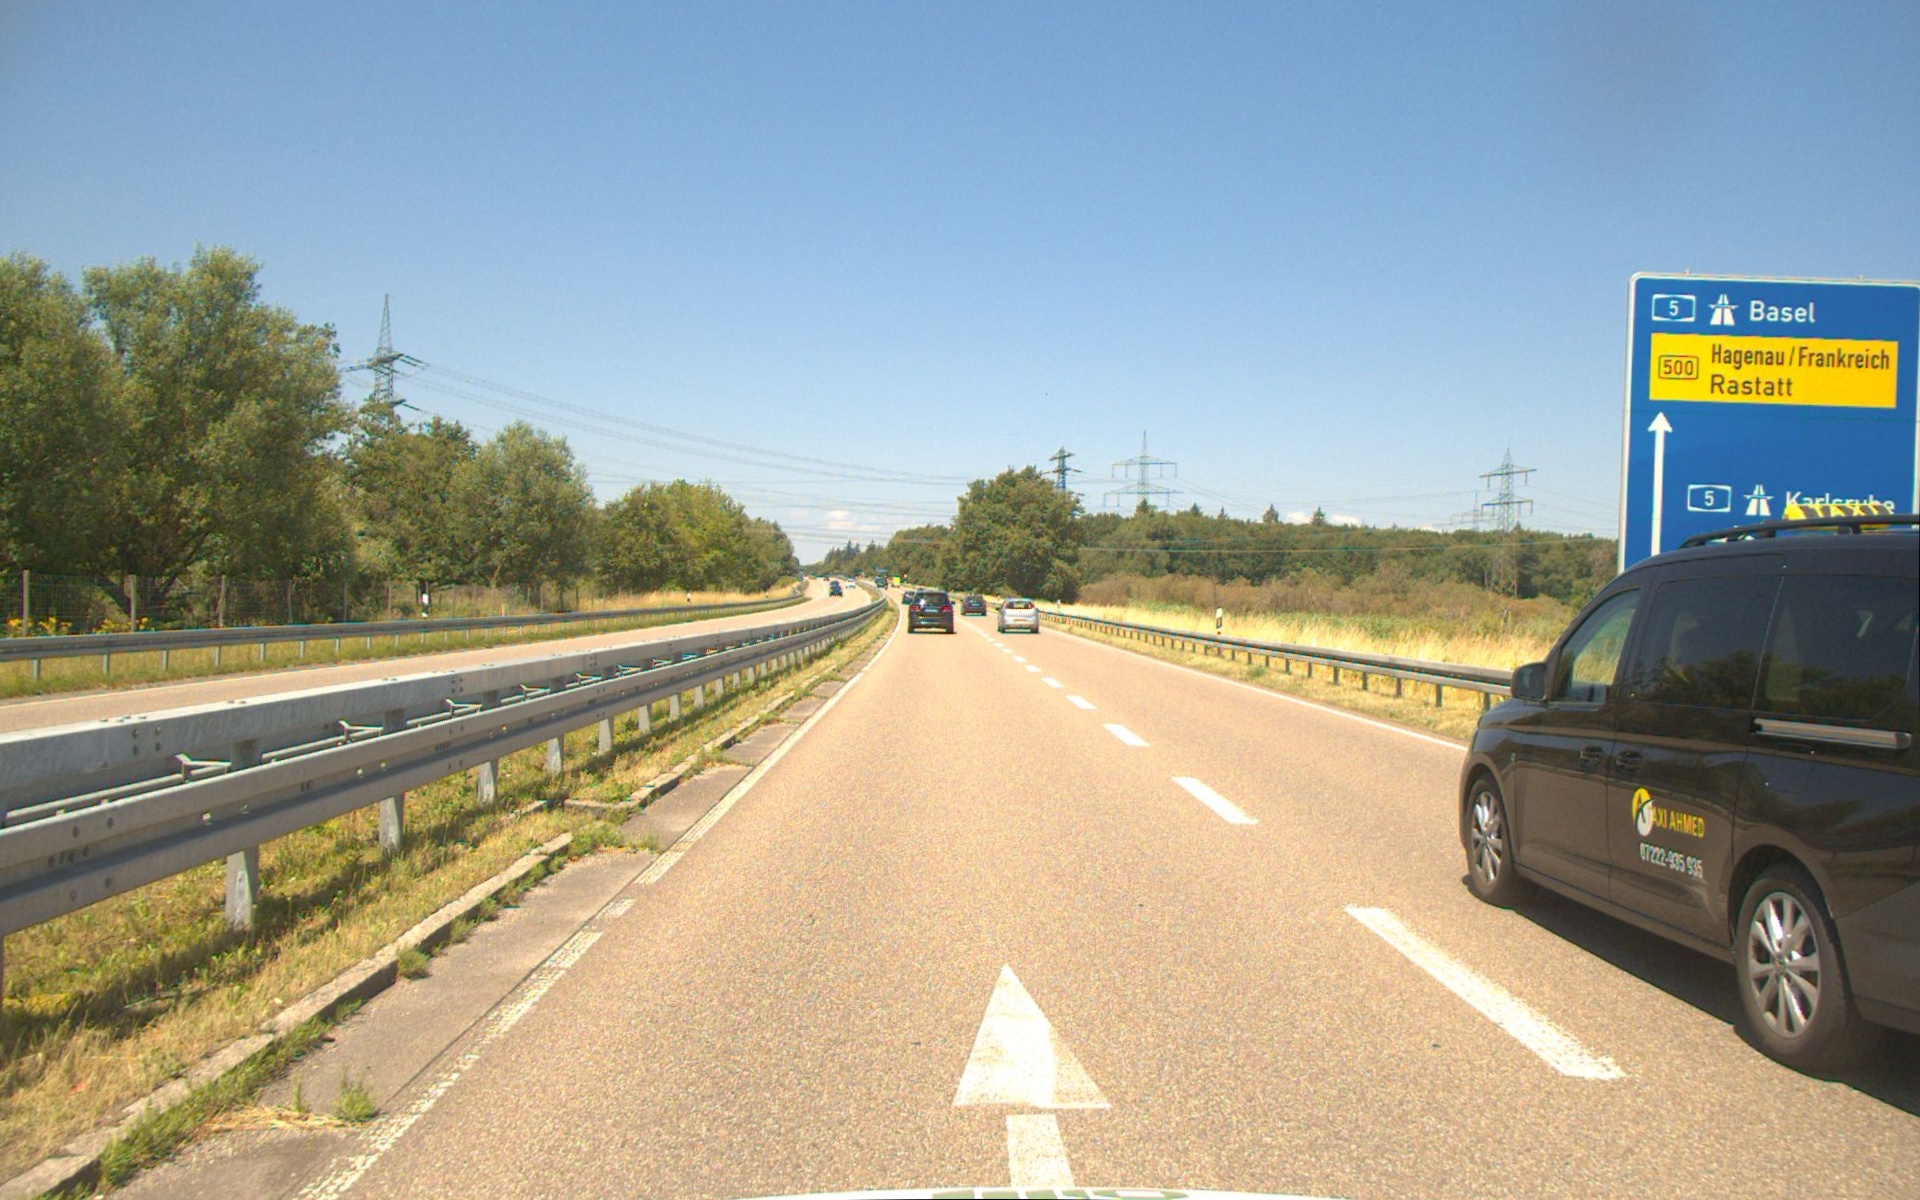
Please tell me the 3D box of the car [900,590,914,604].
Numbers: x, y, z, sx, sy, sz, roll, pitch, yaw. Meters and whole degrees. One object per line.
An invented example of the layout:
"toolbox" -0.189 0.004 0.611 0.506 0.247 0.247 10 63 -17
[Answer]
"car" -6.006 -0.320 187.247 1.484 1.501 3.064 2 0 -3

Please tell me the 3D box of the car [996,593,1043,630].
"car" 2.554 0.493 71.870 1.743 1.505 4.314 2 0 -1

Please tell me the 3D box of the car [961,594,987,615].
"car" 1.013 0.341 120.746 1.782 1.439 4.000 2 0 0

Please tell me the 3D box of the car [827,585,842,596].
"car" -18.779 -1.450 247.513 1.794 1.500 3.683 4 0 -1

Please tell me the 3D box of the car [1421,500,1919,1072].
"car" 3.582 0.610 7.484 1.743 1.848 4.212 1 0 -1

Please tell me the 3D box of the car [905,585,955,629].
"car" -1.223 0.271 68.666 1.953 1.683 3.999 2 0 -1
